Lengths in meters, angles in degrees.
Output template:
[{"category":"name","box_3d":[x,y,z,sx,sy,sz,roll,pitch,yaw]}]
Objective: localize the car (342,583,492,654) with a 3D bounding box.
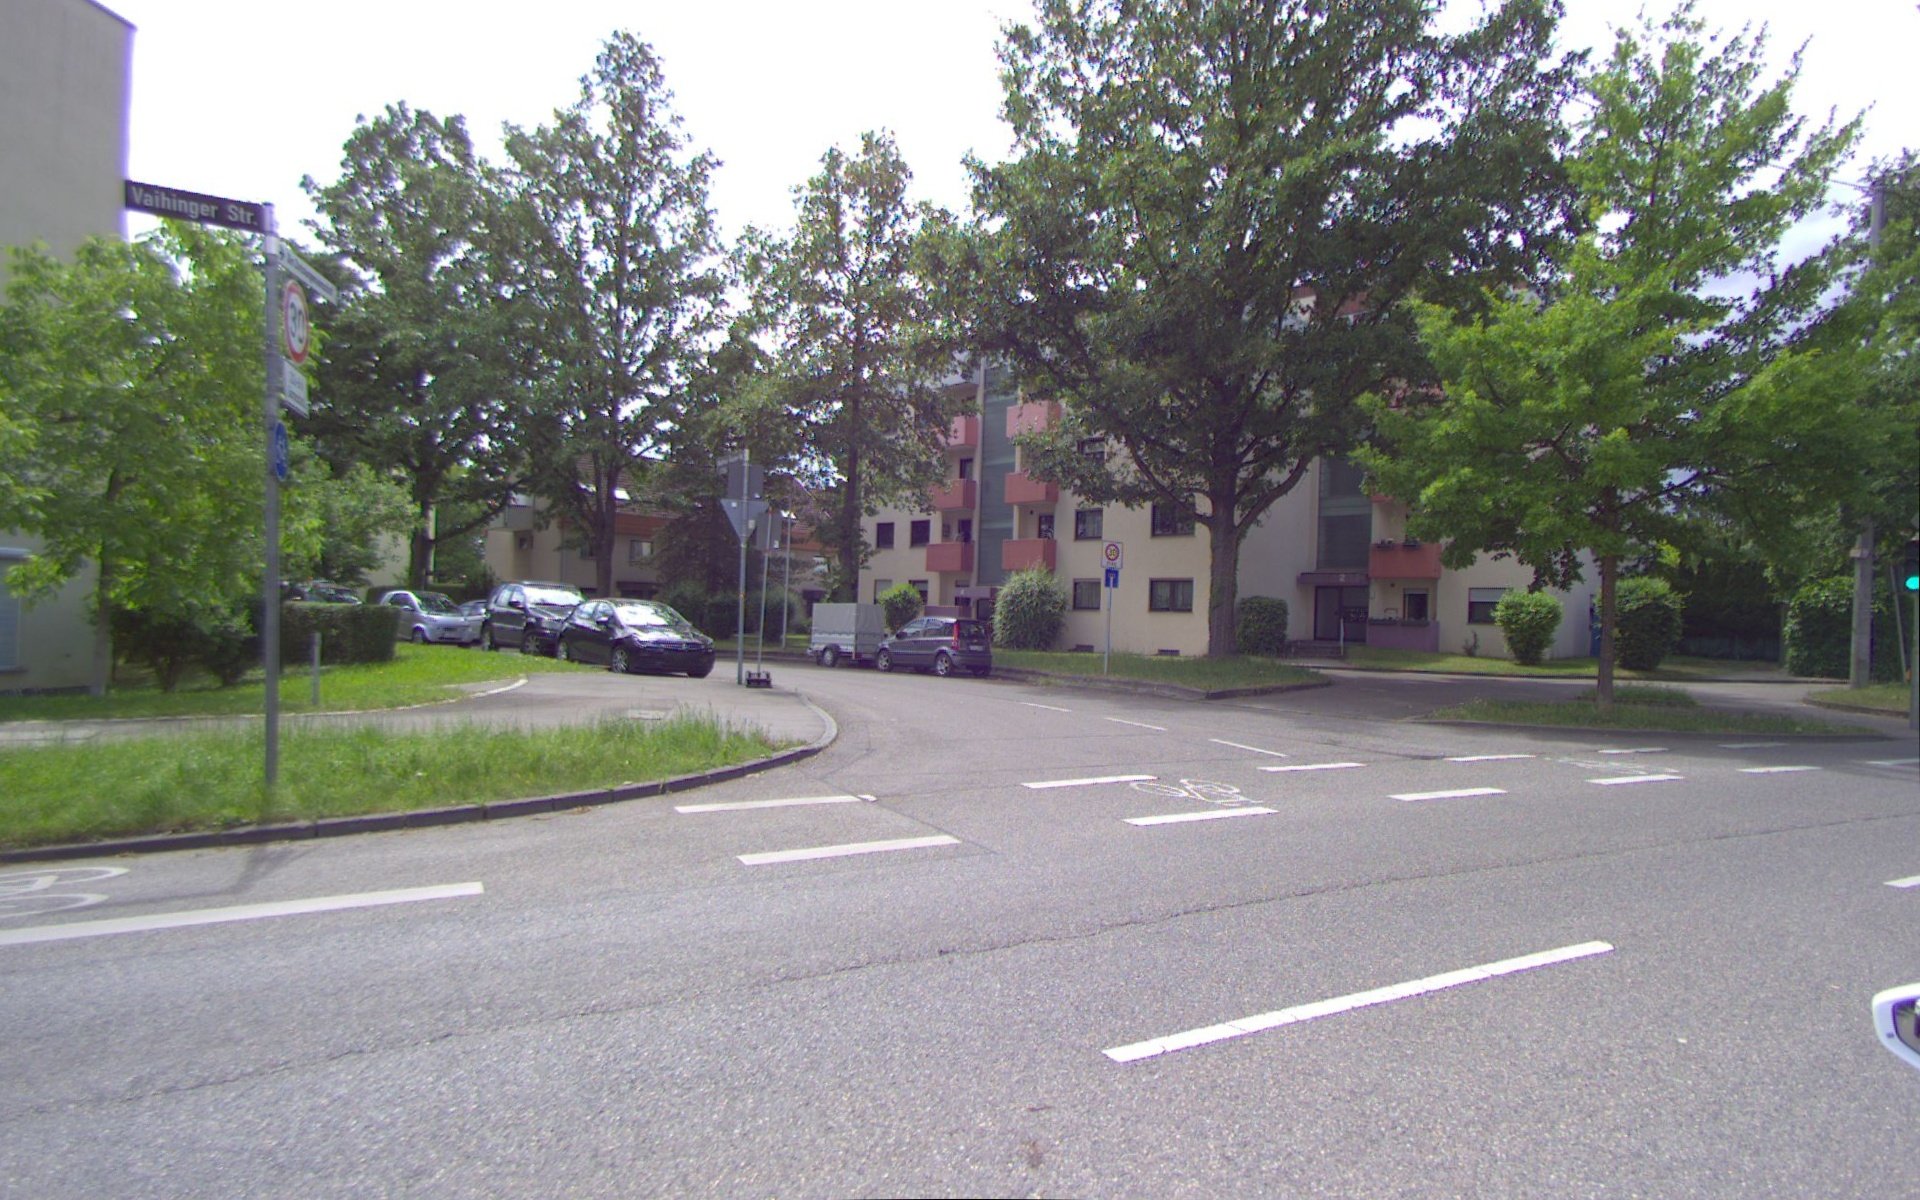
[{"category":"car","box_3d":[-14.977,0.479,27.666,3.927,1.817,1.763,1,-1,29]}]

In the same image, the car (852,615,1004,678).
[{"category":"car","box_3d":[-0.908,1.203,26.754,3.941,1.471,1.688,1,-2,41]}]

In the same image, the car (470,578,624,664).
[{"category":"car","box_3d":[-9.792,0.439,23.640,1.859,1.675,4.375,2,2,-43]}]

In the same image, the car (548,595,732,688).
[{"category":"car","box_3d":[-6.338,0.740,19.627,1.726,1.417,4.097,2,2,-44]}]

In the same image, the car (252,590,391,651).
[{"category":"car","box_3d":[-18.938,0.583,29.762,3.926,1.686,1.714,1,-1,28]}]

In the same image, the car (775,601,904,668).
[{"category":"car","box_3d":[-3.668,1.054,30.102,1.834,1.868,3.947,2,-3,-45]}]

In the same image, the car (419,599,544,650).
[{"category":"car","box_3d":[-17.706,0.882,37.148,4.194,1.725,1.942,1,-1,26]}]
